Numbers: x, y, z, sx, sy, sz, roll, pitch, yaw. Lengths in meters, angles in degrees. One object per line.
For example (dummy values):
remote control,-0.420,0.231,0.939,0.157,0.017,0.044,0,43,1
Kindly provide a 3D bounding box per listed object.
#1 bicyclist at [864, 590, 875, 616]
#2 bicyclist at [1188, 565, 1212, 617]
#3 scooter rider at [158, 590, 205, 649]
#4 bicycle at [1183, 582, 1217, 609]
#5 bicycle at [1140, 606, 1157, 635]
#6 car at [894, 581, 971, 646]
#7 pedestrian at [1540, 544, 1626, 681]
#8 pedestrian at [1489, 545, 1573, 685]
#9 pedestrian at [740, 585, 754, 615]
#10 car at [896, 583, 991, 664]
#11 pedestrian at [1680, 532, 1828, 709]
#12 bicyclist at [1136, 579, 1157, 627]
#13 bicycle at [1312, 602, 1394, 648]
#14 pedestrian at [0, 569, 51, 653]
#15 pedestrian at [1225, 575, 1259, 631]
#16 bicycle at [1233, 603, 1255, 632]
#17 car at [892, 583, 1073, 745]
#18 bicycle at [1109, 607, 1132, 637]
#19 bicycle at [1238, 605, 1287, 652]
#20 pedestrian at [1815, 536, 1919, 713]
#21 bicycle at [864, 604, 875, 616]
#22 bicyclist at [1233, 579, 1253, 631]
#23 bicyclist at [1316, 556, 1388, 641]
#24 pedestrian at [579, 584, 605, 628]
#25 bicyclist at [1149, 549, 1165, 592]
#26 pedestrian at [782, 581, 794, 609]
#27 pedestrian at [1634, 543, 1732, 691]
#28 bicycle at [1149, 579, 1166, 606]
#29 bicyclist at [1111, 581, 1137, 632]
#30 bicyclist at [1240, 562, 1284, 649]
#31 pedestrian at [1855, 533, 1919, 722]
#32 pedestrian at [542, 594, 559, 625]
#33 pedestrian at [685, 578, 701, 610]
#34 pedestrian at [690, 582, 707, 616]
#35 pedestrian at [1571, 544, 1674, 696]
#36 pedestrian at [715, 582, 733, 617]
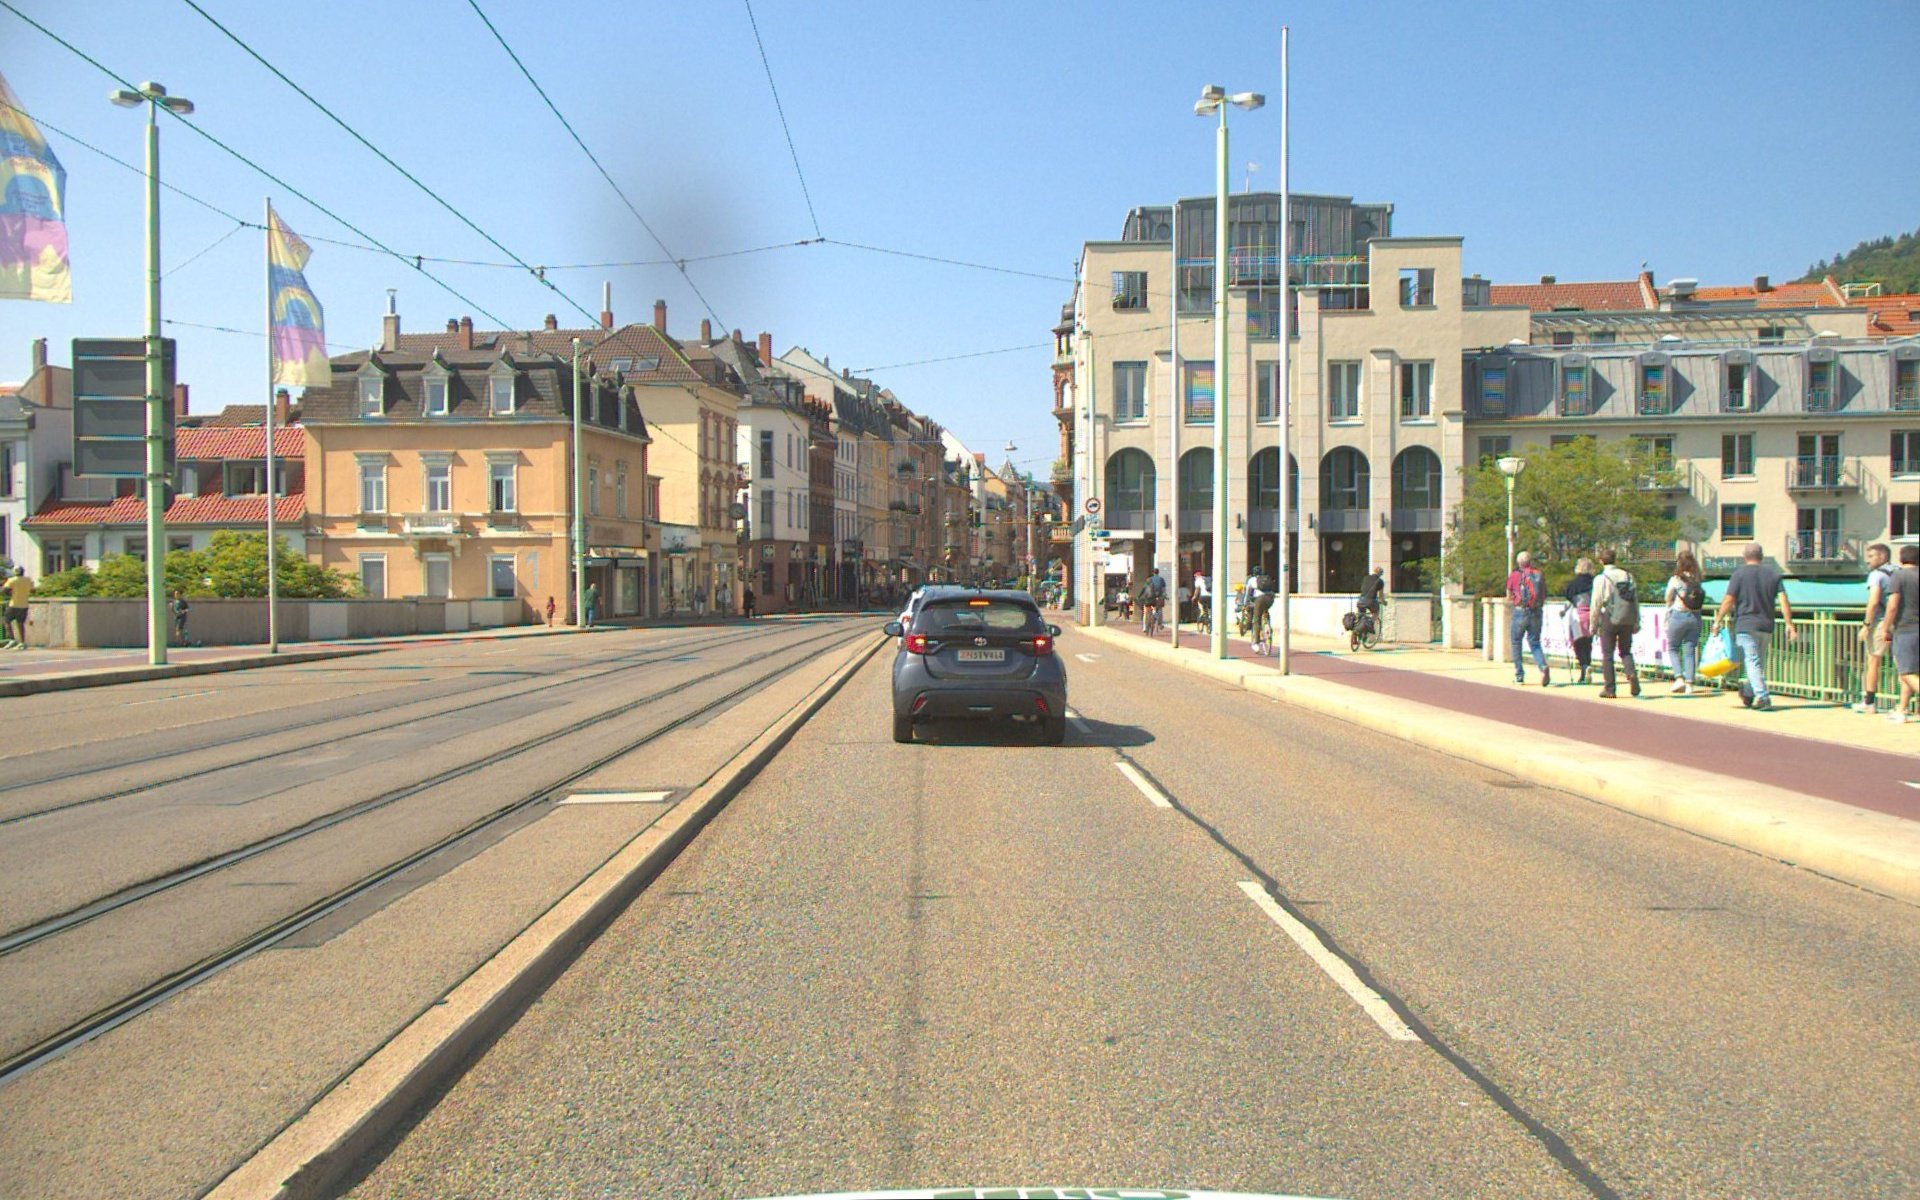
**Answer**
bicyclist,-5.921,0.181,108.346,0.614,1.679,0.622,1,1,0
bicyclist,6.983,-0.250,48.087,0.480,1.492,0.437,-2,0,-40
scooter rider,-18.707,0.468,39.741,0.752,1.338,0.598,4,0,11
bicycle,6.979,-0.128,48.100,0.414,0.779,0.948,-2,0,-39
bicycle,5.327,0.561,46.798,0.407,0.779,1.206,-2,0,3
car,-0.709,0.315,42.732,1.859,1.557,3.999,1,0,-1
pedestrian,8.487,0.166,22.580,0.724,1.808,1.015,-2,0,-1
pedestrian,7.729,0.193,22.423,0.724,1.833,1.015,-2,0,-1
pedestrian,-11.969,0.001,92.988,0.636,1.629,0.566,4,2,0
car,-0.358,0.453,34.549,1.859,1.557,3.999,1,0,-1
pedestrian,8.534,0.207,17.830,0.957,1.808,1.207,-2,0,-1
bicyclist,5.285,0.085,46.845,0.527,1.339,0.672,-2,0,4
bicycle,8.144,0.512,34.254,1.813,0.898,0.787,-2,1,-43
pedestrian,-20.501,0.232,36.136,0.729,1.812,0.802,-1,0,12
pedestrian,8.563,0.084,50.229,0.724,1.642,1.015,4,0,-1
bicycle,7.795,0.470,45.403,0.408,0.779,0.961,-2,0,0
car,0.186,0.591,17.458,1.685,1.499,3.657,1,0,-1
bicycle,8.477,1.155,87.138,1.089,1.444,3.009,4,0,6
bicycle,6.113,0.567,33.467,0.689,0.898,1.525,-1,0,0
pedestrian,9.410,0.235,16.954,0.724,1.748,1.015,-1,0,-1
bicycle,-5.928,0.660,108.422,0.607,0.728,1.771,1,1,0
bicyclist,7.776,0.139,45.423,0.413,1.407,0.443,-2,0,-1
bicyclist,8.115,-0.028,34.235,0.917,1.725,1.125,-1,0,-43
pedestrian,-14.587,0.250,65.557,0.746,1.682,0.712,4,0,5
bicyclist,5.973,-0.898,50.221,0.413,1.278,0.443,-2,0,2
pedestrian,-11.073,-0.331,106.479,0.721,1.797,0.787,0,1,-1
pedestrian,9.035,0.206,20.702,0.724,1.777,1.015,-2,0,-1
bicycle,5.999,-0.233,50.193,0.407,0.779,0.962,-2,0,2
bicyclist,8.672,0.349,87.489,1.202,2.572,1.105,4,0,5
bicyclist,6.094,0.102,33.455,0.687,1.725,0.924,-1,0,0
pedestrian,9.189,0.238,15.759,0.724,1.748,1.015,-2,0,-1
pedestrian,-15.885,0.357,64.120,0.403,1.166,0.545,4,0,7
pedestrian,-13.869,-0.304,85.946,0.636,1.629,0.566,4,2,0
pedestrian,-13.022,-0.041,82.347,0.636,1.629,0.566,4,2,0
pedestrian,7.923,0.230,19.816,0.739,1.748,1.073,-2,0,-1
pedestrian,-12.444,-0.039,87.163,0.721,1.796,0.787,4,0,0
